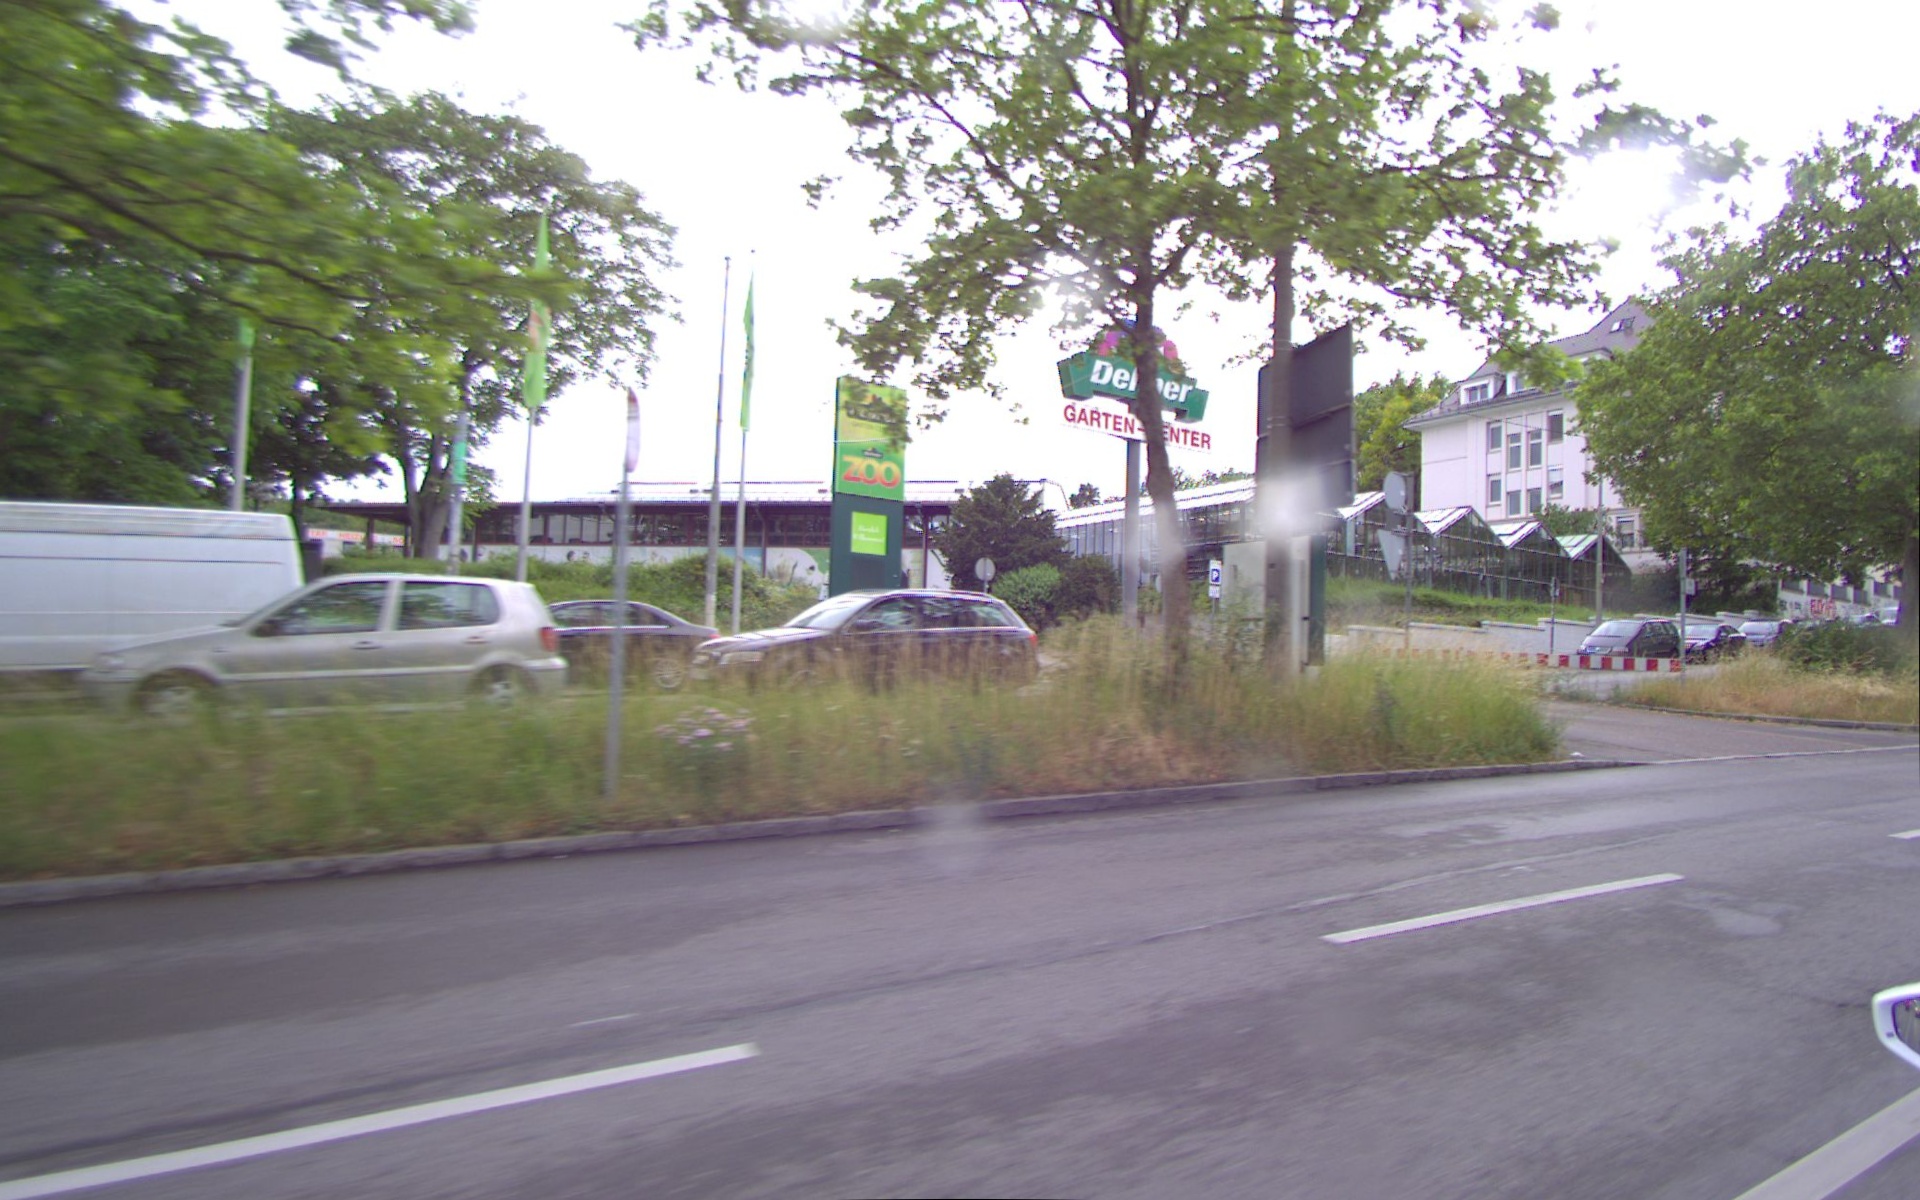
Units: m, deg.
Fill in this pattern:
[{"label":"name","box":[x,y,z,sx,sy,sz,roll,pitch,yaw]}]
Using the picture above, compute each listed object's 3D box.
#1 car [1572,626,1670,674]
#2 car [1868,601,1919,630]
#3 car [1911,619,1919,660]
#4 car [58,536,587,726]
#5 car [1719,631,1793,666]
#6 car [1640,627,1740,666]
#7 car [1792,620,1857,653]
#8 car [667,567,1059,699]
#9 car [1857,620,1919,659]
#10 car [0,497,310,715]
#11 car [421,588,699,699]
[{"label":"car","box":[23.230,1.763,35.269,3.481,1.506,1.639,4,-4,-33]},{"label":"car","box":[47.597,0.819,51.132,2.985,1.315,1.374,4,-4,-34]},{"label":"car","box":[34.405,1.417,34.768,3.140,1.379,1.428,4,-4,-32]},{"label":"car","box":[-5.429,0.364,9.008,3.667,1.413,1.353,4,-4,-31]},{"label":"car","box":[32.874,2.015,41.462,3.271,1.307,1.455,4,-4,-33]},{"label":"car","box":[27.903,1.785,38.363,4.079,1.307,1.805,4,-4,-33]},{"label":"car","box":[39.099,1.670,45.418,3.051,1.326,1.353,4,-4,-31]},{"label":"car","box":[-1.078,0.478,12.181,4.492,1.309,1.530,4,-4,-30]},{"label":"car","box":[29.799,1.281,31.856,2.724,1.110,1.342,4,-4,-33]},{"label":"car","box":[-11.293,0.102,12.275,5.597,2.475,1.951,1,-2,-35]},{"label":"car","box":[-6.149,0.720,15.566,3.636,1.487,1.830,5,-4,-35]}]
